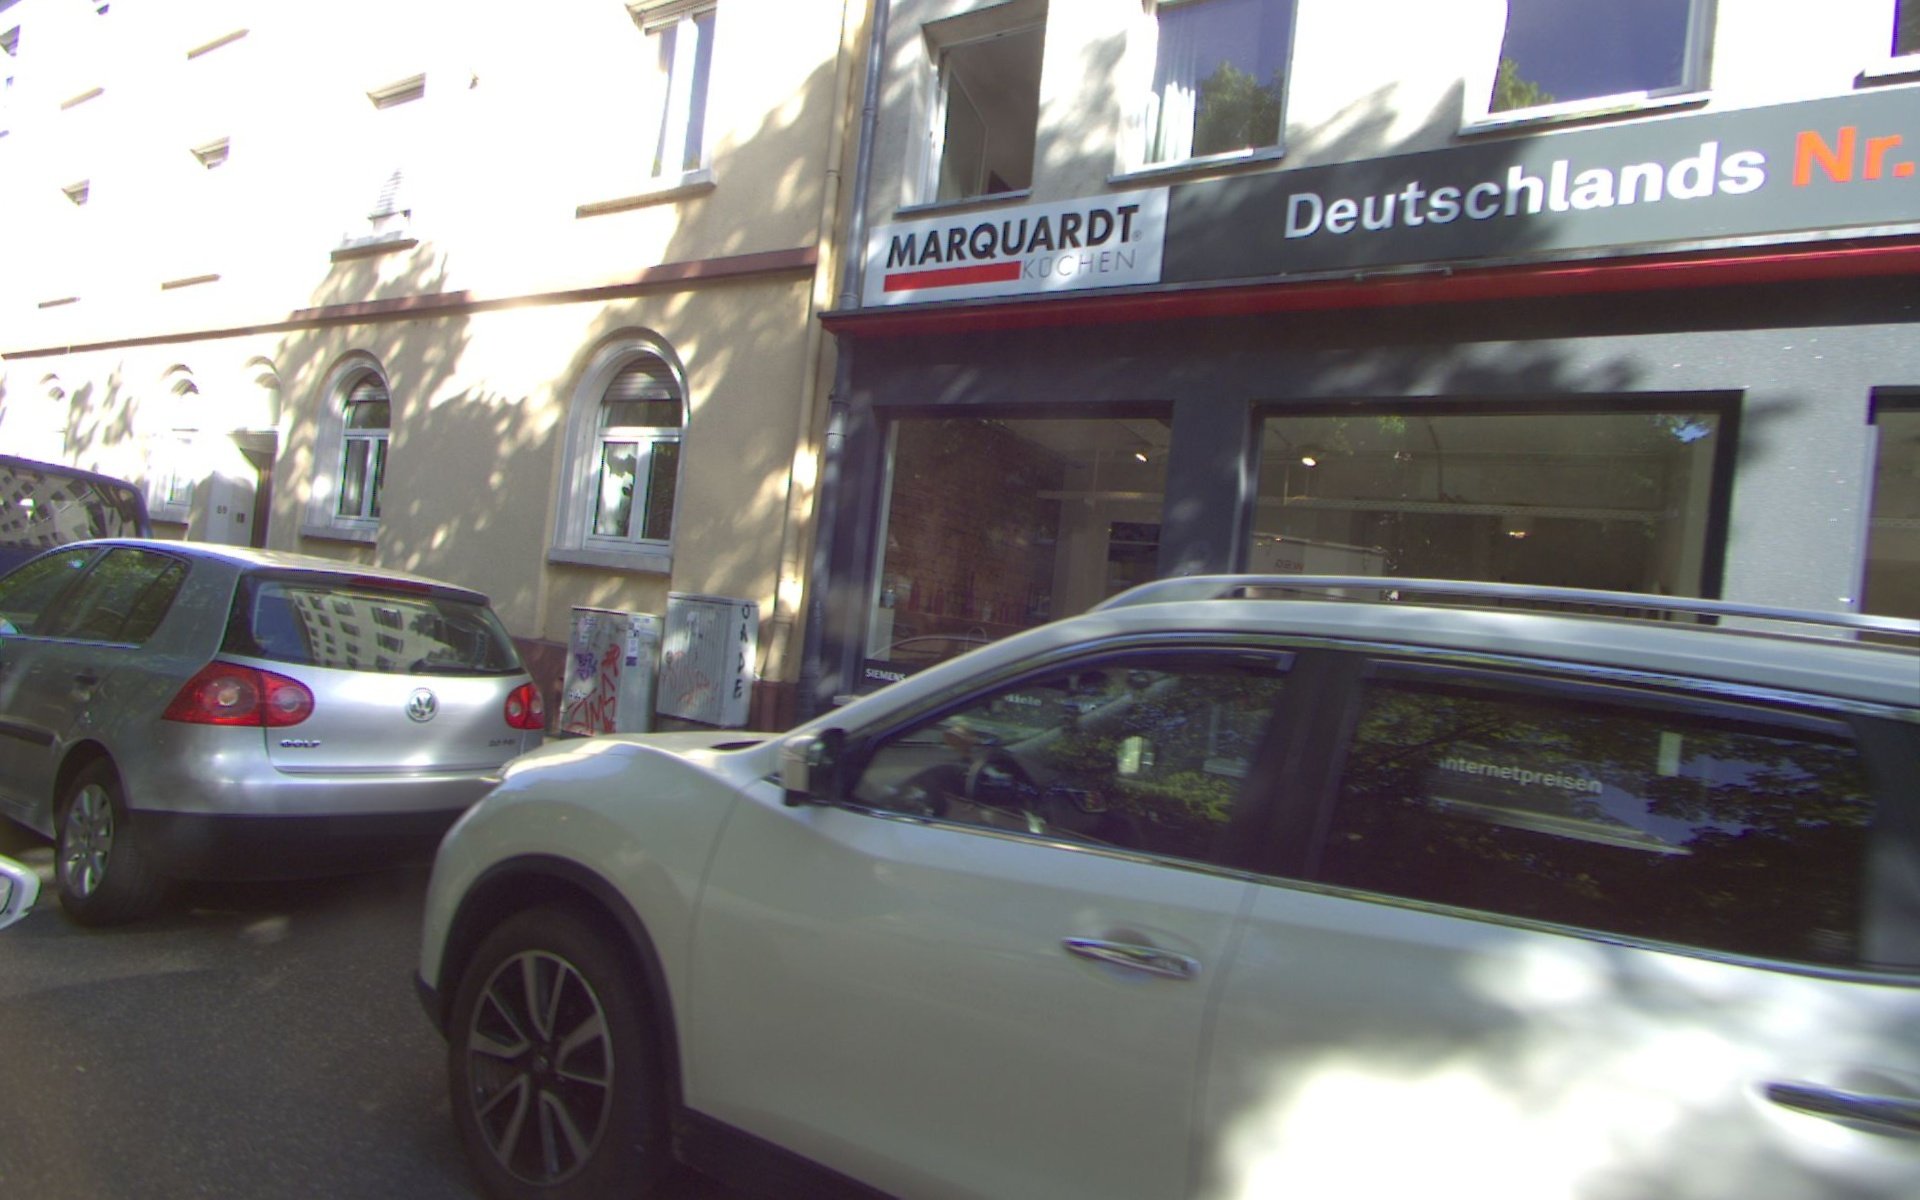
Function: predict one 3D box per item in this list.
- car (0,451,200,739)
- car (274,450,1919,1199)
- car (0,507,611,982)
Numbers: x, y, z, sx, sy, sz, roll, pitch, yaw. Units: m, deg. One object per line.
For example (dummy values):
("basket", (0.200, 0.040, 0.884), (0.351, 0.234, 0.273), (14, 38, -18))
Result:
("car", (-8.407, -0.219, 8.059), (4.765, 1.923, 1.952), (6, -1, 31))
("car", (0.547, 0.740, 2.458), (4.433, 1.774, 1.766), (6, -1, 29))
("car", (-3.992, 0.409, 5.168), (4.167, 1.518, 1.765), (6, -2, 31))
